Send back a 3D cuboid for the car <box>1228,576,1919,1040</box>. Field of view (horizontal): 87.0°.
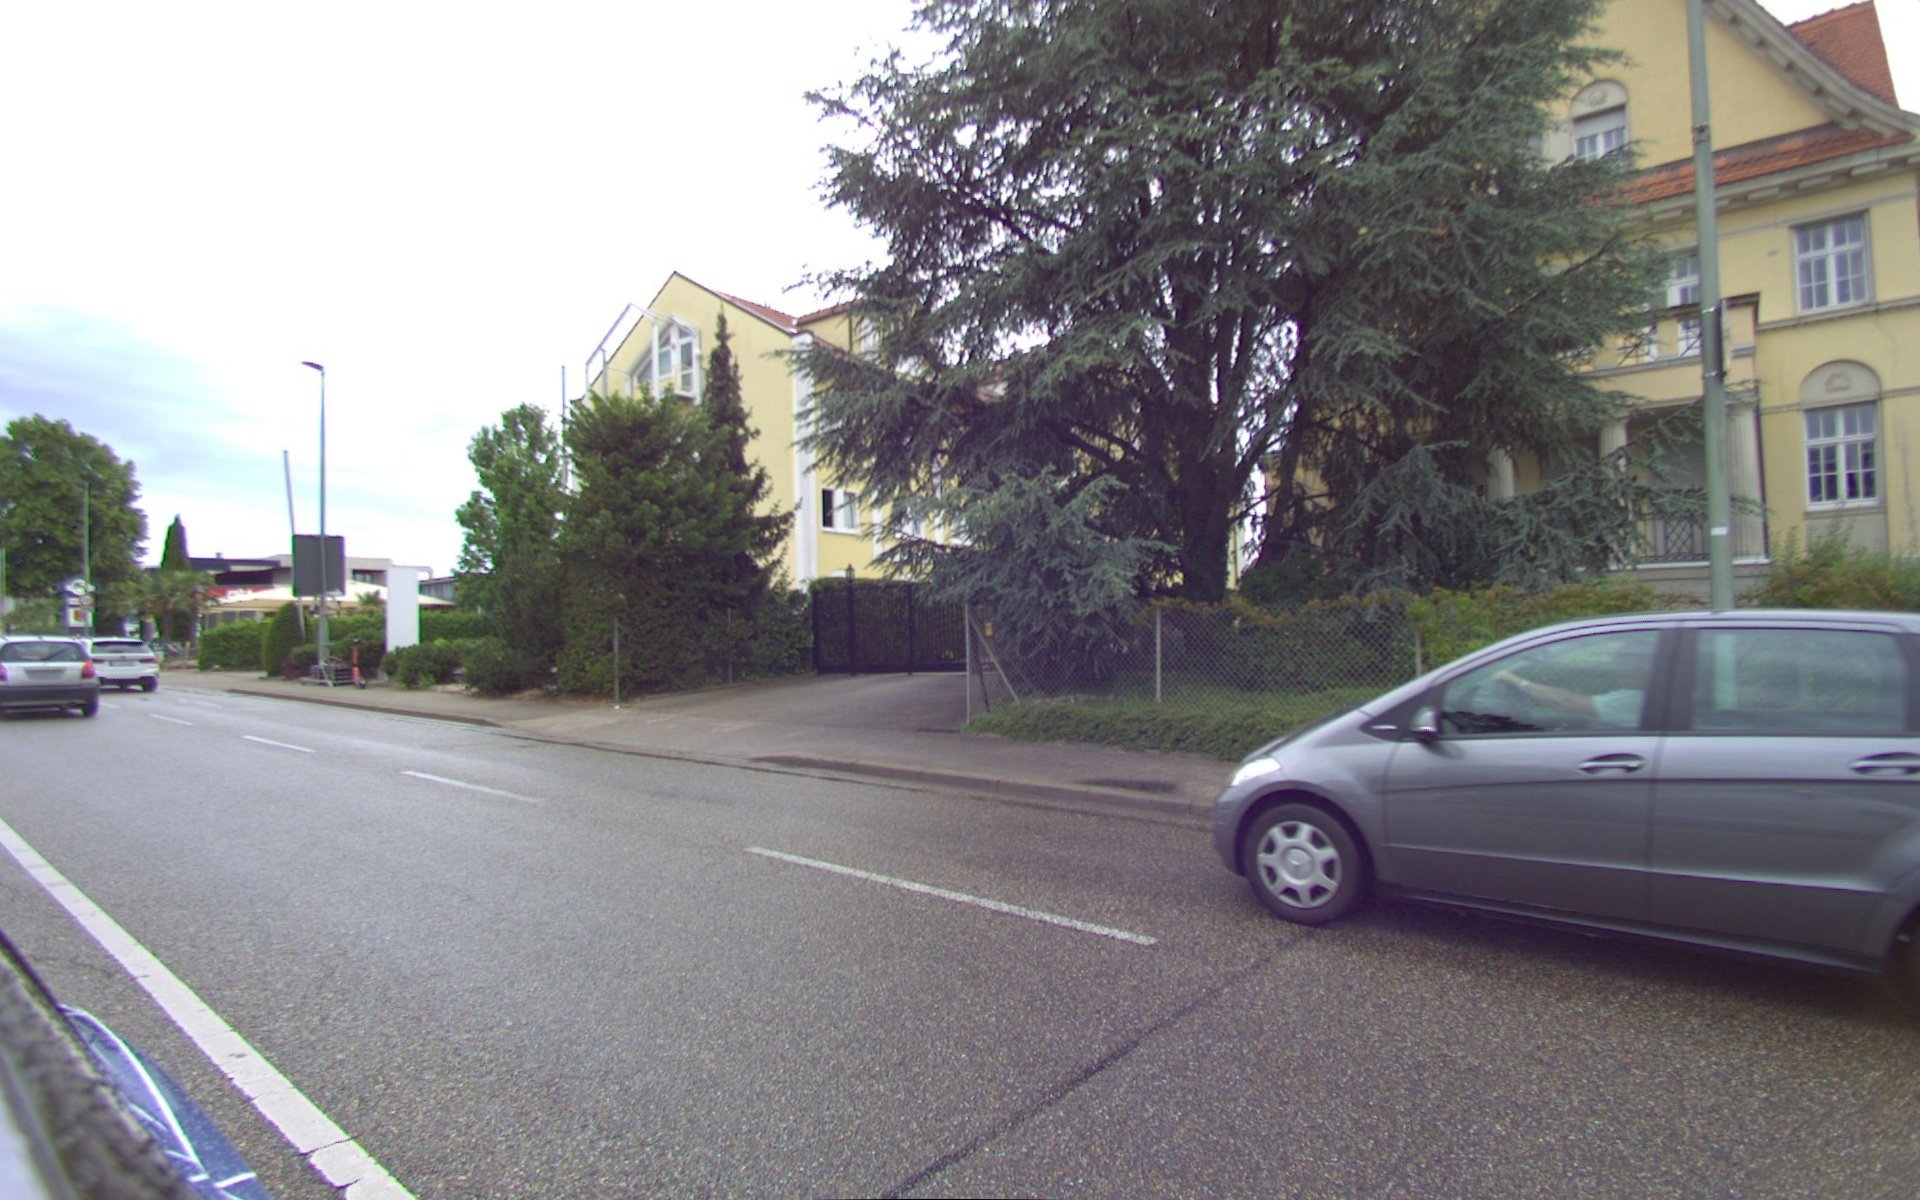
[{"bbox_3d":[3.264,0.764,4.704,3.546,1.611,1.682,-1,-3,39],"label":"car"}]

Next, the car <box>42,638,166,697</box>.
[{"bbox_3d":[-23.130,1.761,27.284,4.427,1.471,1.767,-2,-2,39],"label":"car"}]

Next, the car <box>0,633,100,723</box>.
[{"bbox_3d":[-17.024,1.353,18.383,3.516,1.471,1.622,-1,-2,41],"label":"car"}]

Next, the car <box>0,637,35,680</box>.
[{"bbox_3d":[-34.909,2.097,36.554,3.777,1.487,1.678,-1,-3,40],"label":"car"}]

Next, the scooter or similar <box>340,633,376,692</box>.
[{"bbox_3d":[-15.031,1.534,25.233,0.498,1.416,1.884,1,-2,-39],"label":"scooter or similar"}]
